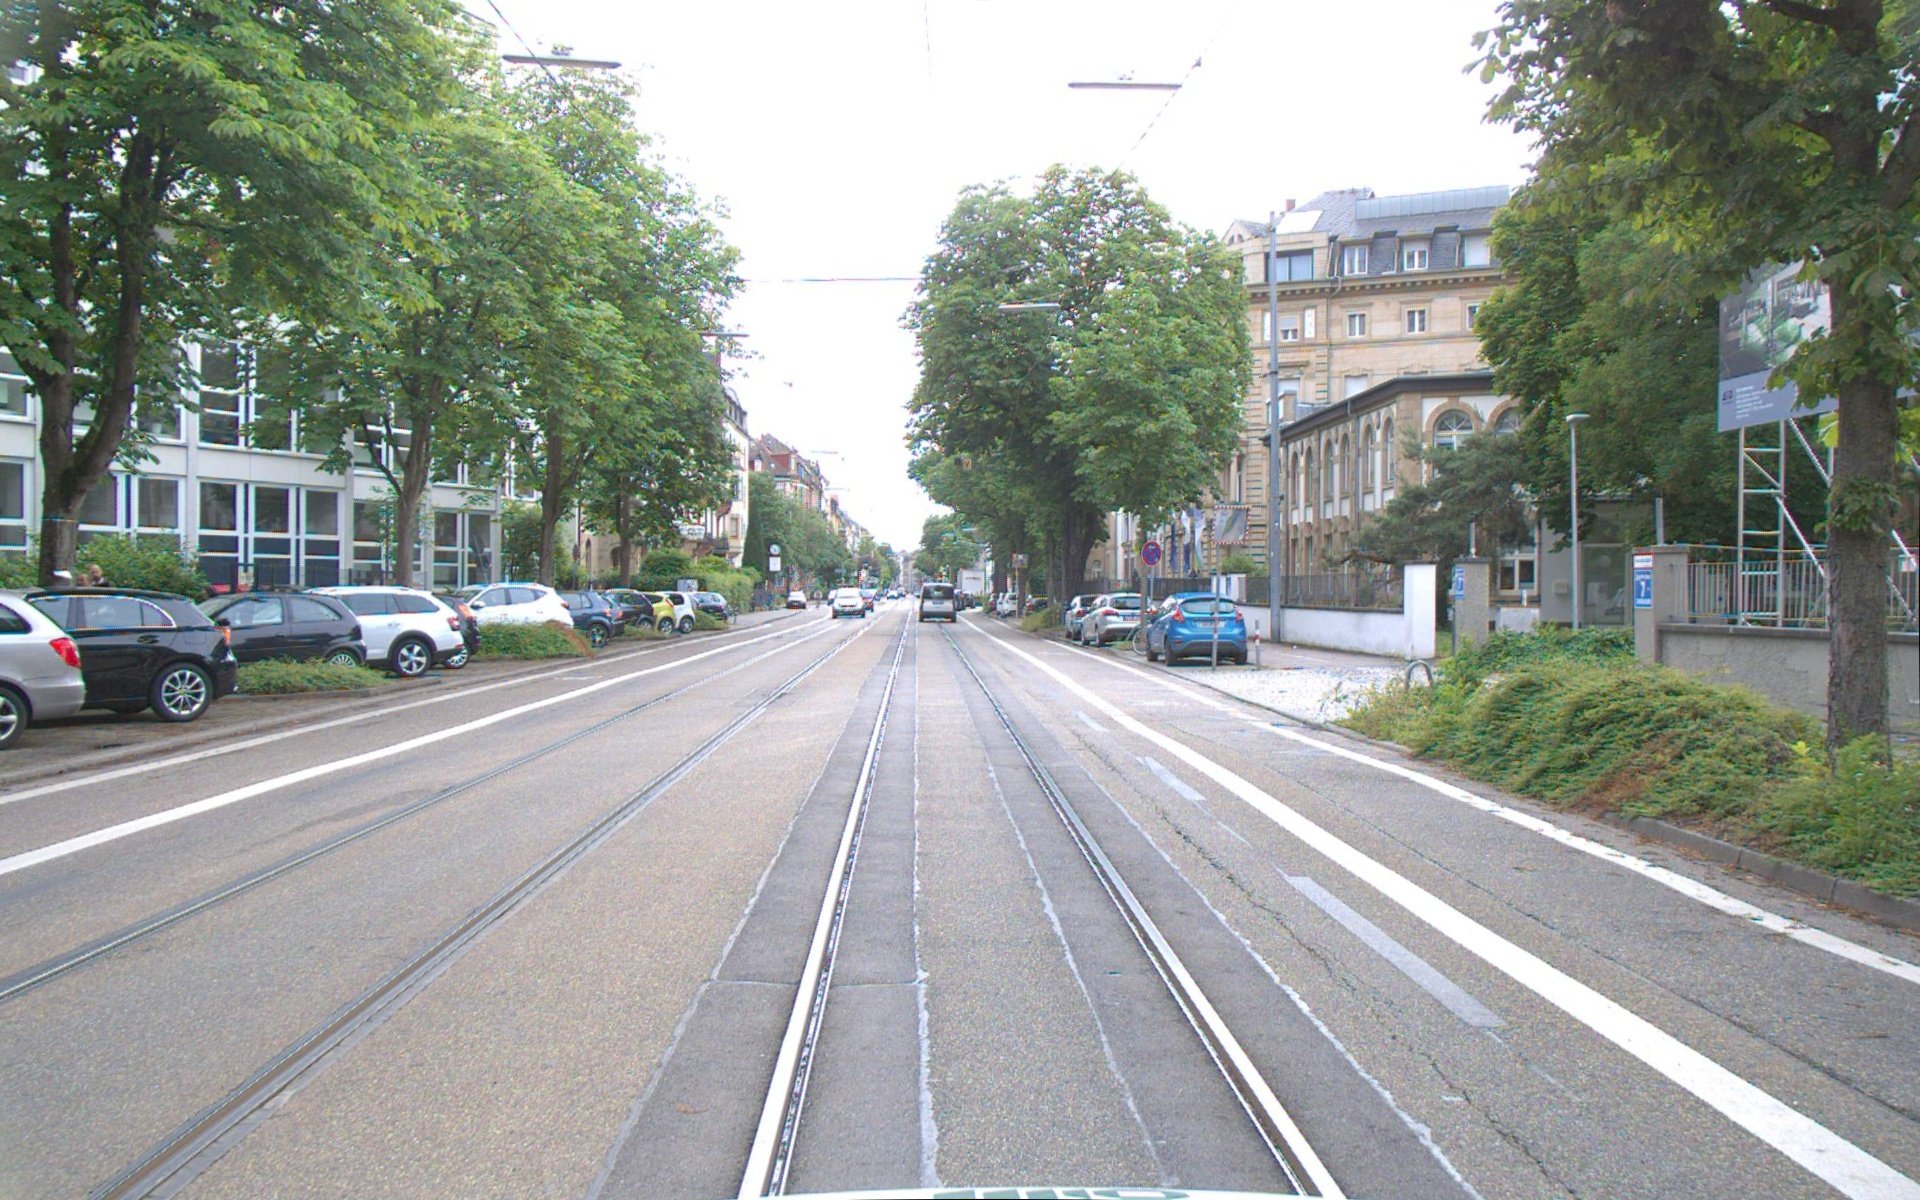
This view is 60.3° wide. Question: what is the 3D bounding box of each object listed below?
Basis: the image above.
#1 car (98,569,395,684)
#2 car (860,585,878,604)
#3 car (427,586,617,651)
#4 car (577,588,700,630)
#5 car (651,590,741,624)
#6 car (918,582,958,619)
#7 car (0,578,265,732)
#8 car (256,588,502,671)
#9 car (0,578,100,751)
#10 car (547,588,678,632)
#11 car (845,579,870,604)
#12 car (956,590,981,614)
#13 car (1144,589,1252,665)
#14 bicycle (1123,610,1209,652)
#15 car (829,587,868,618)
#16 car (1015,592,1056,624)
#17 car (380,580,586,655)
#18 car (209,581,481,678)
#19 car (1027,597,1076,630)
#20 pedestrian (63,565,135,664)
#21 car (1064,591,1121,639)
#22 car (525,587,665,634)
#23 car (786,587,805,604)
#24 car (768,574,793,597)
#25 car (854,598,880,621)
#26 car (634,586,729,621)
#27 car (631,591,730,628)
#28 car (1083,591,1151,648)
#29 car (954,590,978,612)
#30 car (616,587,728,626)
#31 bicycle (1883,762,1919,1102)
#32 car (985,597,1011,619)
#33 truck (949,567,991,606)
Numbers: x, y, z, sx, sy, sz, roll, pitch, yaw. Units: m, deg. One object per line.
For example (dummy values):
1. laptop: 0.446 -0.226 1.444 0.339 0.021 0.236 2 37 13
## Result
1. car: -10.491 0.375 24.469 1.671 1.550 3.680 1 0 44
2. car: -11.455 -0.702 208.817 2.160 2.295 3.999 0 0 -2
3. car: -10.734 0.452 40.751 1.670 1.479 4.318 1 0 43
4. car: -11.047 0.326 57.050 1.670 1.375 3.943 1 0 43
5. car: -11.762 0.320 73.738 3.661 1.410 1.686 1 0 -26
6. car: -1.047 0.028 79.106 1.774 1.738 3.699 1 0 1
7. car: -9.702 0.550 17.884 1.671 1.550 3.680 1 0 44
8. car: -10.720 0.536 30.658 3.990 1.430 1.676 1 0 -40
9. car: -9.881 0.558 14.748 1.546 1.550 3.626 1 0 44
10. car: -11.287 0.333 53.871 1.670 1.375 3.943 1 0 43
11. car: -10.222 -0.890 165.164 2.159 2.459 4.001 0 0 2
12. car: 0.645 0.132 129.194 1.953 1.825 4.000 0 0 0
13. car: 4.945 0.528 34.740 1.640 1.486 3.431 1 0 -2
14. bicycle: 4.911 0.739 39.495 1.973 0.973 0.533 0 0 -5
15. car: -5.995 0.128 88.938 1.862 1.557 3.753 -1 0 -1
16. car: 3.471 0.347 76.463 1.754 1.423 3.795 0 0 1
17. car: -10.764 0.390 37.603 1.668 1.583 4.324 1 0 39
18. car: -10.336 0.484 27.933 3.990 1.510 1.676 1 0 -40
19. car: 3.740 0.546 68.335 1.835 1.273 4.000 0 0 1
20. pedestrian: -14.635 0.245 28.122 0.737 1.640 0.734 1 -1 22
21. car: 4.285 0.461 53.838 1.446 1.453 3.564 1 0 -2
22. car: -11.142 0.325 50.608 1.670 1.375 3.943 1 0 43
23. car: -14.355 -0.402 144.454 1.609 1.378 3.873 0 0 -5
24. car: -18.351 -1.502 169.394 2.133 2.246 4.218 0 0 -1
25. car: -6.389 0.654 113.935 1.642 1.549 2.781 1 0 -1
26. car: -11.872 0.133 70.538 3.661 1.410 1.686 1 0 -26
27. car: -11.439 0.385 67.705 3.661 1.410 1.686 1 0 -26
28. car: 4.401 0.529 46.679 1.446 1.507 3.564 1 0 -2
29. car: 0.514 0.084 150.953 1.954 2.049 3.998 0 0 -3
30. car: -10.805 0.245 62.133 1.670 1.375 3.943 1 0 43
31. bicycle: 3.124 1.015 4.125 0.479 0.996 2.057 1 0 0
32. car: 2.636 0.546 115.524 1.733 1.423 3.795 0 0 1
33. truck: 1.002 -1.482 180.671 3.733 4.100 10.208 0 0 -5
